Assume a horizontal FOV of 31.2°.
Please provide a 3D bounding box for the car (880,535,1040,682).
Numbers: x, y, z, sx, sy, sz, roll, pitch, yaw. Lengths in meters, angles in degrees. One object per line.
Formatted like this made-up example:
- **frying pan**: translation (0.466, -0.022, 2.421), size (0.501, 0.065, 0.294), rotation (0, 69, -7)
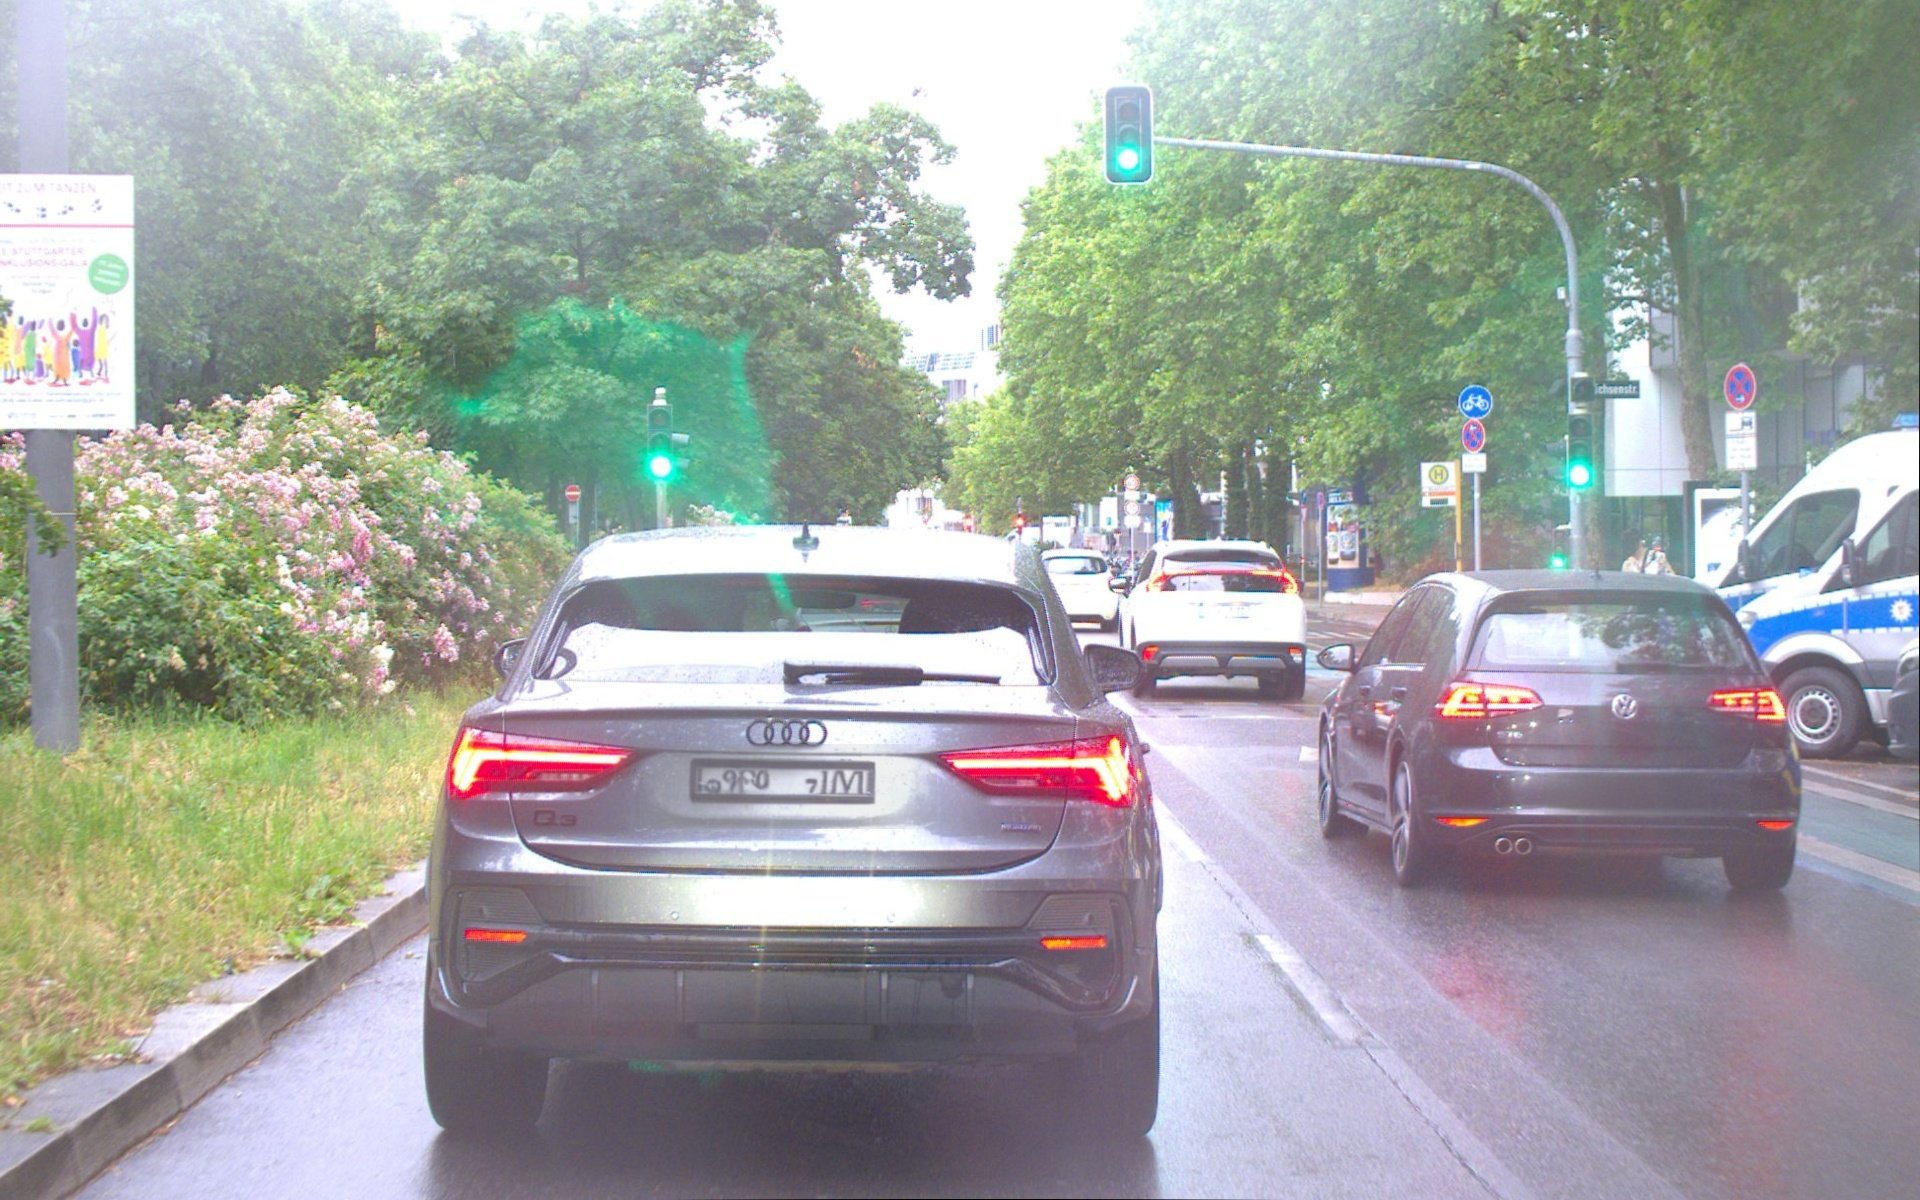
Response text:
- **car**: translation (-0.021, 0.055, 38.985), size (1.721, 1.572, 3.962), rotation (0, 1, -1)

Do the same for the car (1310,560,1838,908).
- **car**: translation (2.803, 0.543, 16.543), size (1.765, 1.408, 4.000), rotation (-1, 1, -1)

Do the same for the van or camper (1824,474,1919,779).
- **van or camper**: translation (8.393, 0.181, 22.329), size (5.011, 2.007, 1.996), rotation (0, 0, 35)

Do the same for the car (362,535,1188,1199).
- **car**: translation (-0.387, 0.581, 10.020), size (1.863, 1.527, 4.527), rotation (0, 1, 1)

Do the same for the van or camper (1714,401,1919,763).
- **van or camper**: translation (8.705, -0.143, 25.413), size (5.805, 2.671, 1.996), rotation (0, 1, 35)

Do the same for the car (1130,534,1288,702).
- **car**: translation (2.603, 0.152, 36.399), size (1.433, 1.679, 2.979), rotation (-1, 1, 0)

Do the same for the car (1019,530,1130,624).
- **car**: translation (2.179, -0.475, 66.317), size (1.993, 1.744, 4.000), rotation (0, 1, 0)

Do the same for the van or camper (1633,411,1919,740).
- **van or camper**: translation (8.726, -0.206, 28.528), size (5.810, 2.668, 2.143), rotation (1, 1, 37)
